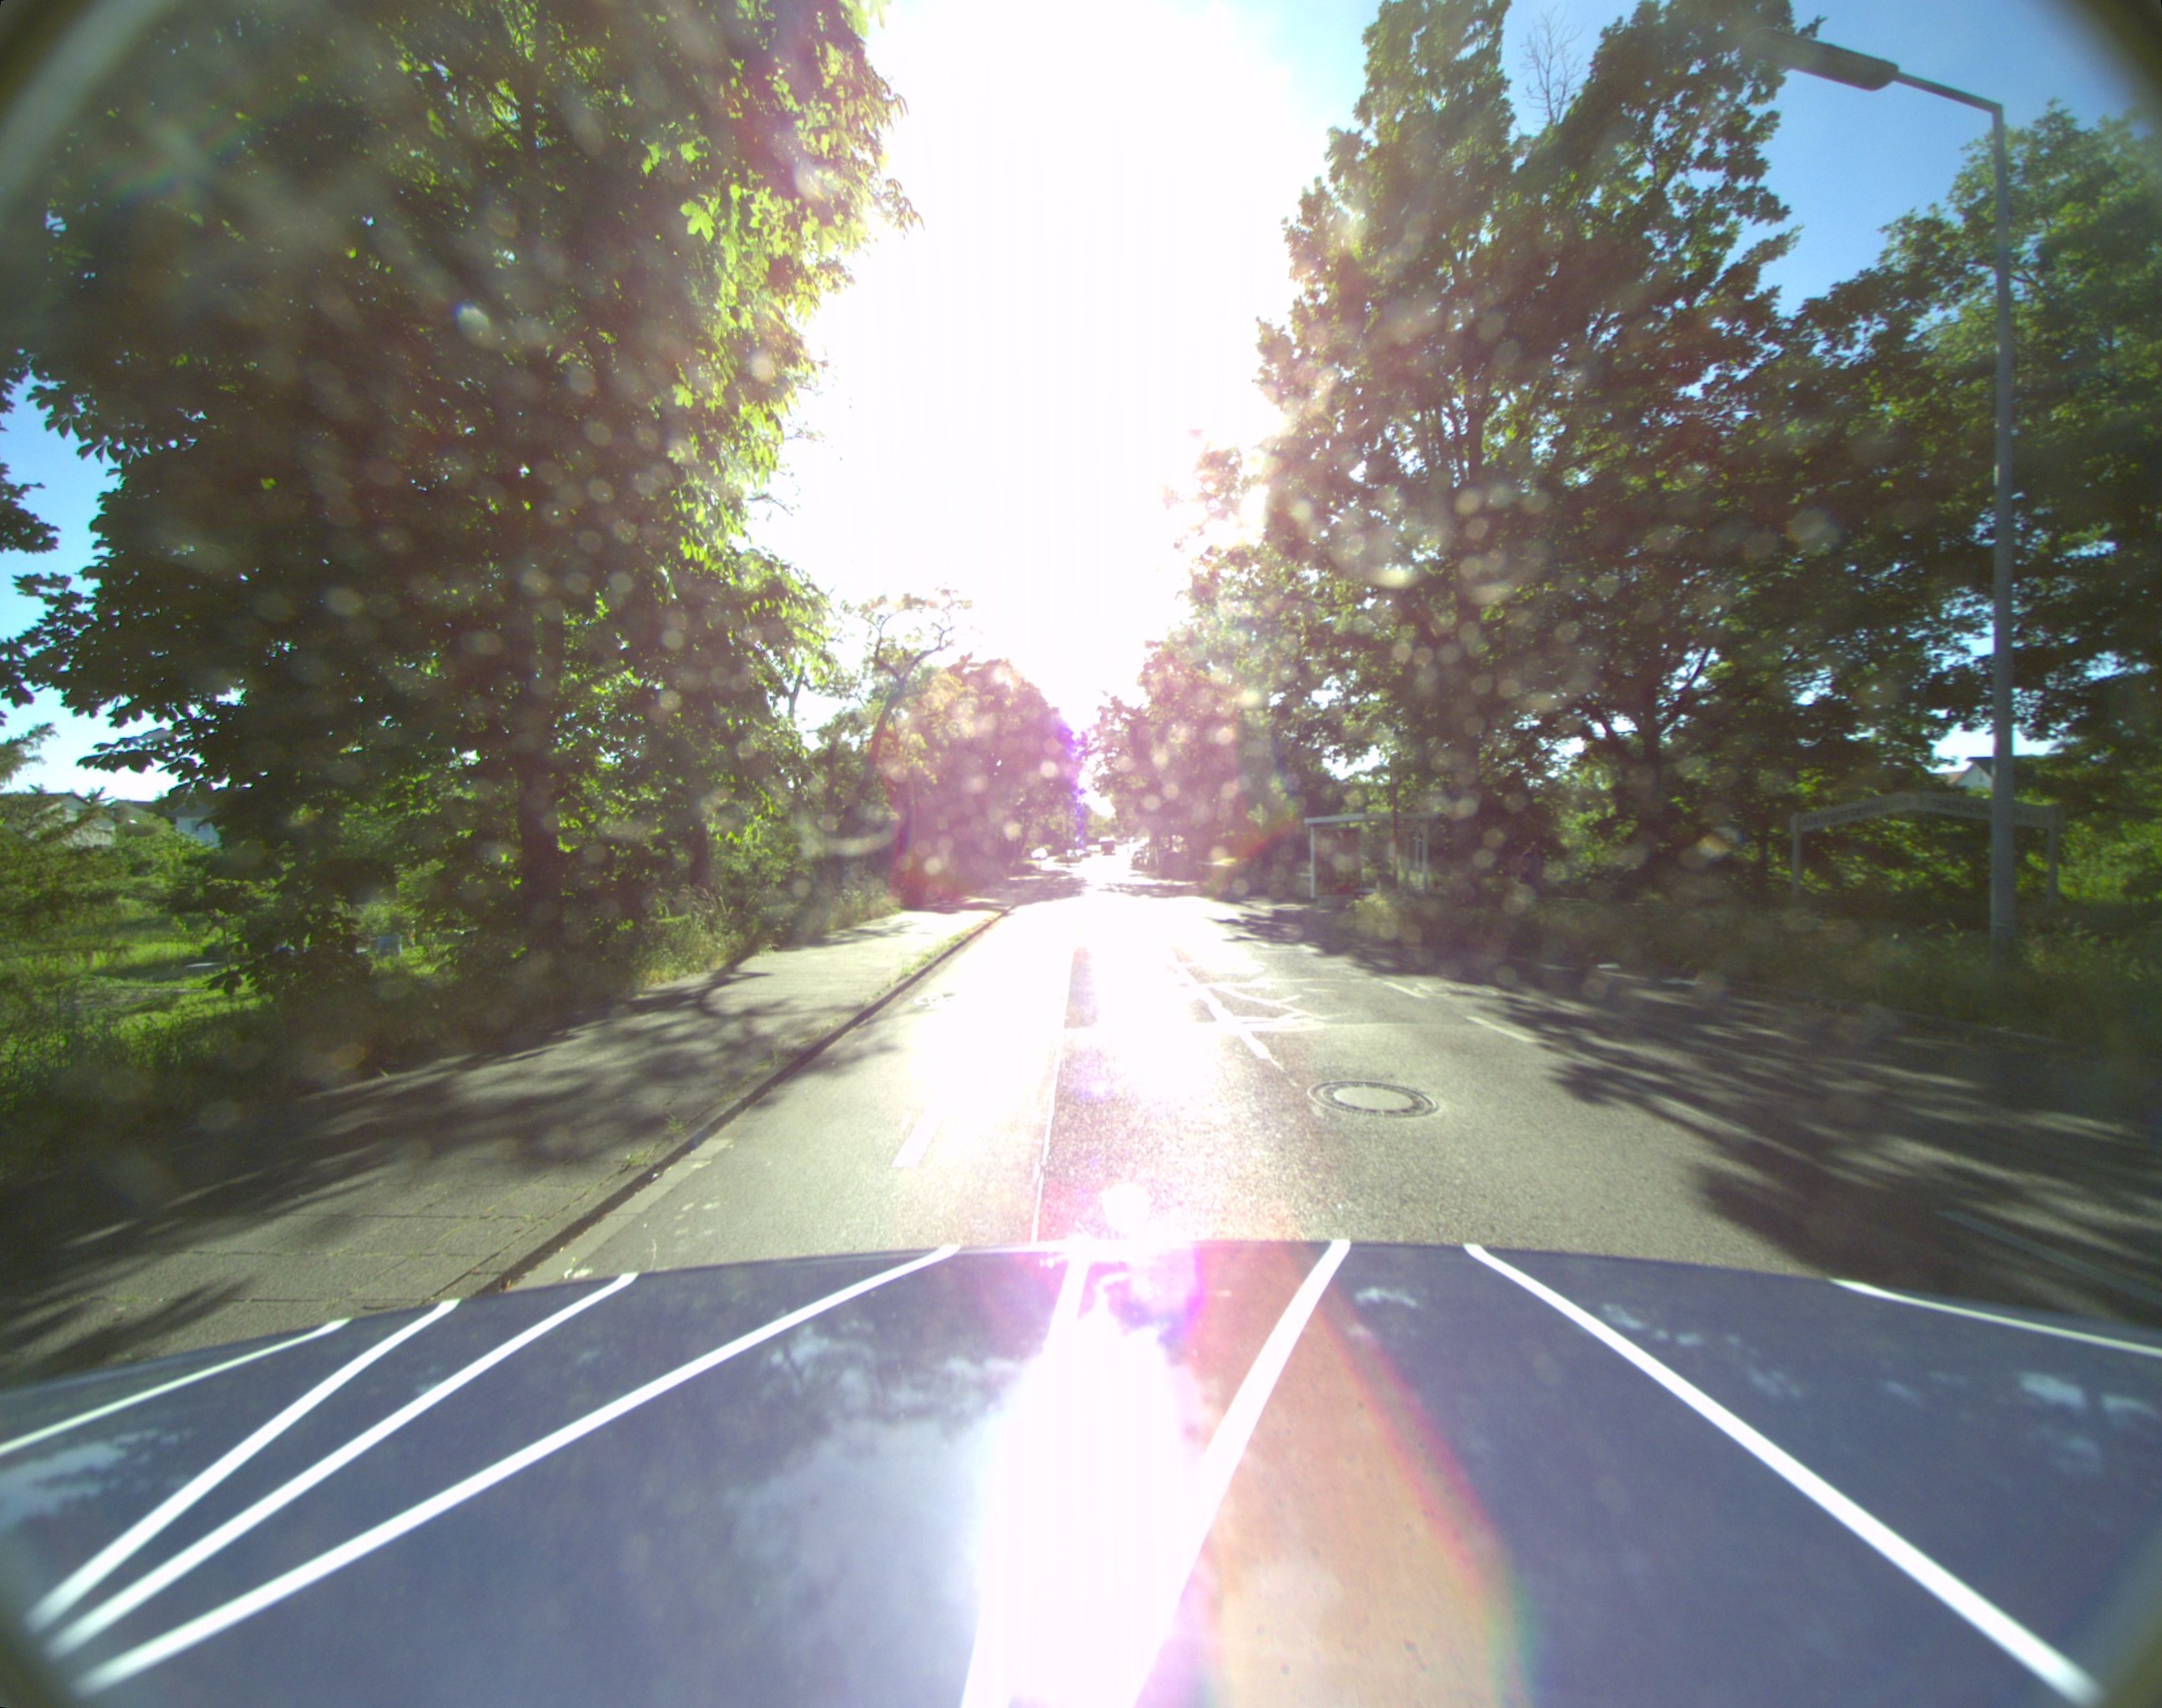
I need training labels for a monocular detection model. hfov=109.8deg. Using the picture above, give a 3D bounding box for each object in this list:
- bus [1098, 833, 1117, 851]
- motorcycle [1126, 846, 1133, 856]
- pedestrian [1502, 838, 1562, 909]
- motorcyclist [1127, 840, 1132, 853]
[{"bbox_3d":[4.784,-2.202,140.566,2.790,2.965,12.893,-2,0,-1],"label":"bus"},{"bbox_3d":[7.901,-0.470,123.924,0.815,1.668,2.411,-3,1,-2],"label":"motorcycle"},{"bbox_3d":[11.146,0.464,18.819,0.915,1.678,0.891,-2,0,2],"label":"pedestrian"},{"bbox_3d":[7.907,-1.202,123.916,0.537,2.002,0.826,-3,2,-2],"label":"motorcyclist"}]
